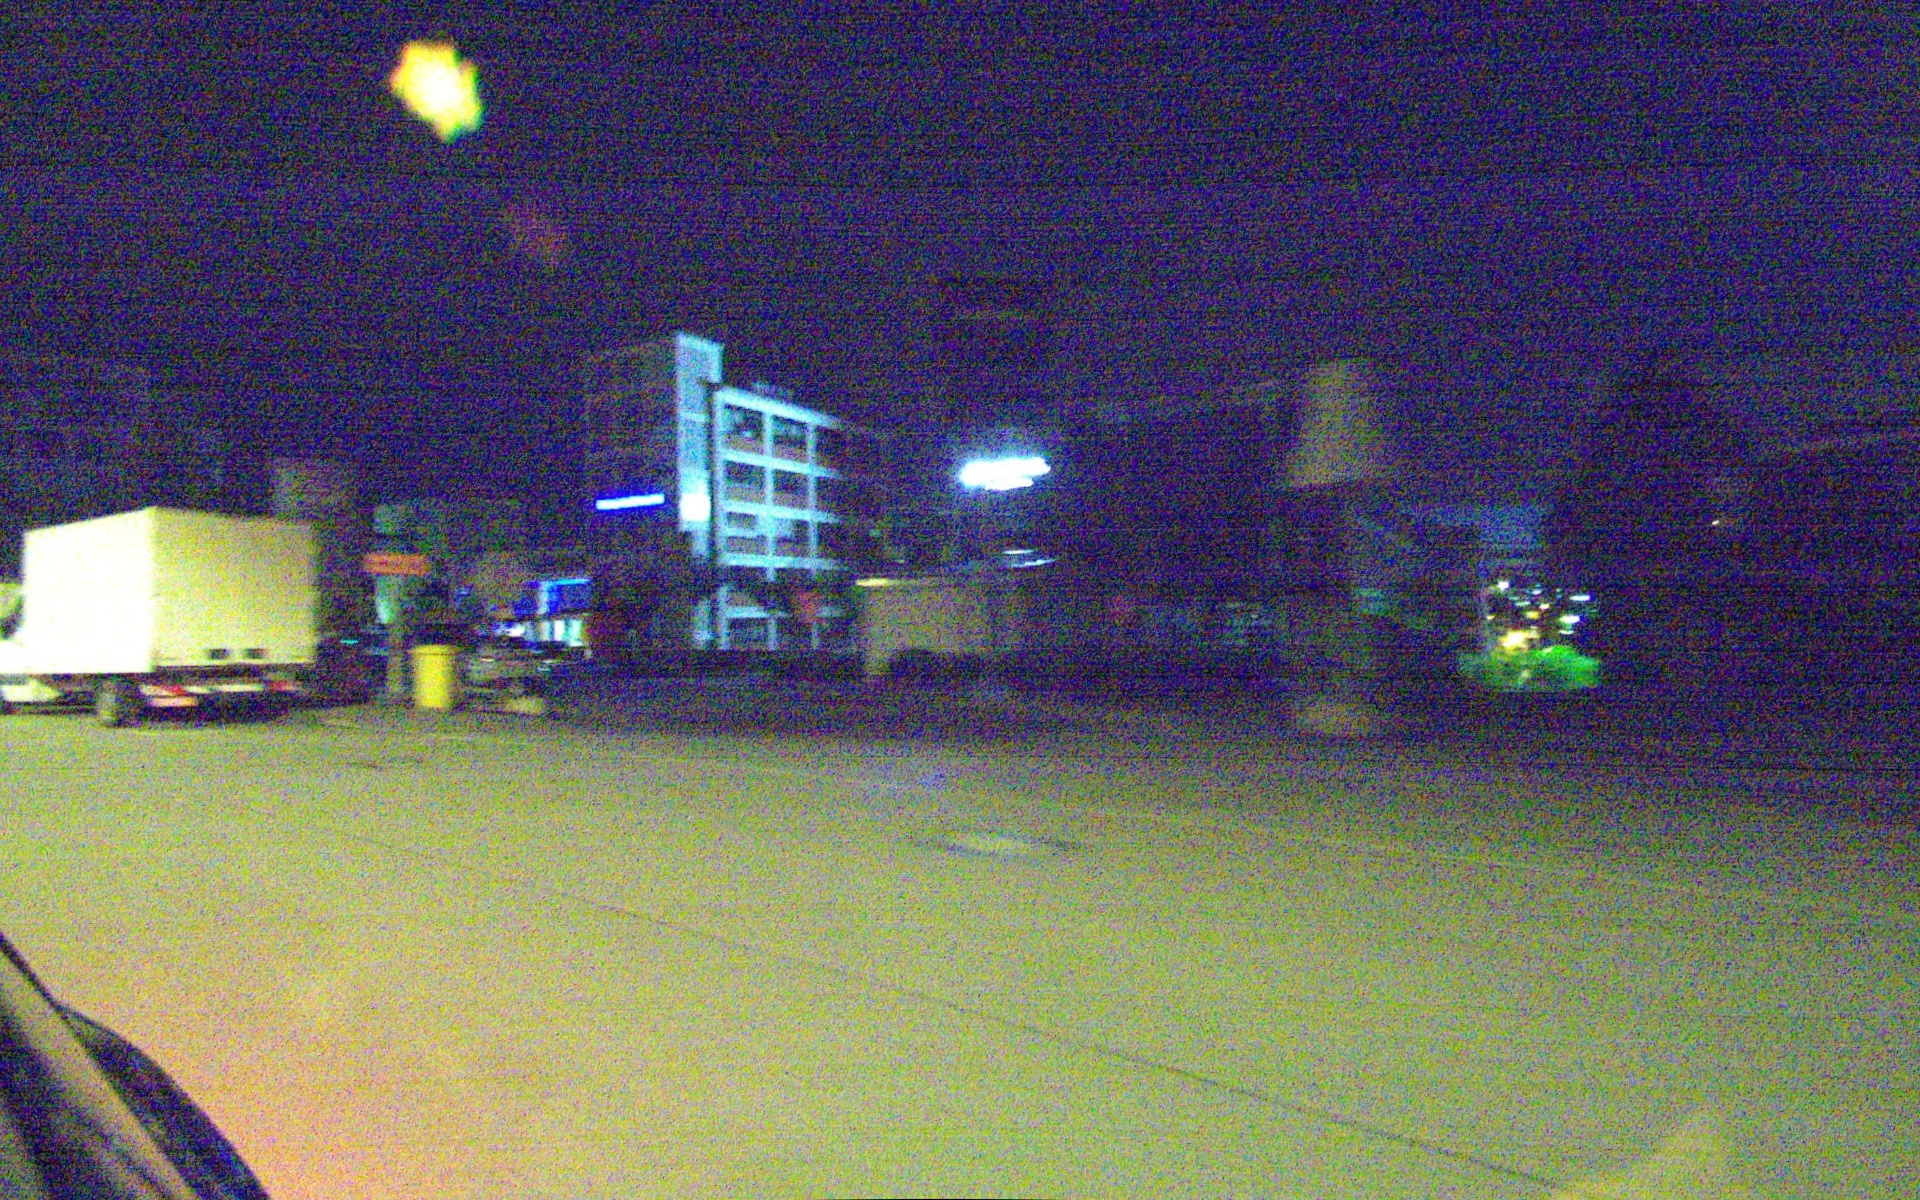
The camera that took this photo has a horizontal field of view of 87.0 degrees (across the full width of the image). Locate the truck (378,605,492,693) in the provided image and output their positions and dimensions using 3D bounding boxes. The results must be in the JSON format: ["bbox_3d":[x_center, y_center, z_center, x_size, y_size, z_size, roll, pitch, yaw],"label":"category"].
[{"bbox_3d":[-17.709,1.576,33.911,2.105,2.633,7.113,2,-2,-38],"label":"truck"}]

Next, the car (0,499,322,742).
[{"bbox_3d":[-13.600,0.347,16.485,7.202,3.268,2.365,-1,-1,30],"label":"car"}]

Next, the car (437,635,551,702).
[{"bbox_3d":[-12.619,1.779,27.305,1.833,1.652,4.007,2,-2,-39],"label":"car"}]

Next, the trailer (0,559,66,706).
[{"bbox_3d":[-19.815,0.651,20.194,3.990,2.787,1.979,-2,-3,35],"label":"trailer"}]
